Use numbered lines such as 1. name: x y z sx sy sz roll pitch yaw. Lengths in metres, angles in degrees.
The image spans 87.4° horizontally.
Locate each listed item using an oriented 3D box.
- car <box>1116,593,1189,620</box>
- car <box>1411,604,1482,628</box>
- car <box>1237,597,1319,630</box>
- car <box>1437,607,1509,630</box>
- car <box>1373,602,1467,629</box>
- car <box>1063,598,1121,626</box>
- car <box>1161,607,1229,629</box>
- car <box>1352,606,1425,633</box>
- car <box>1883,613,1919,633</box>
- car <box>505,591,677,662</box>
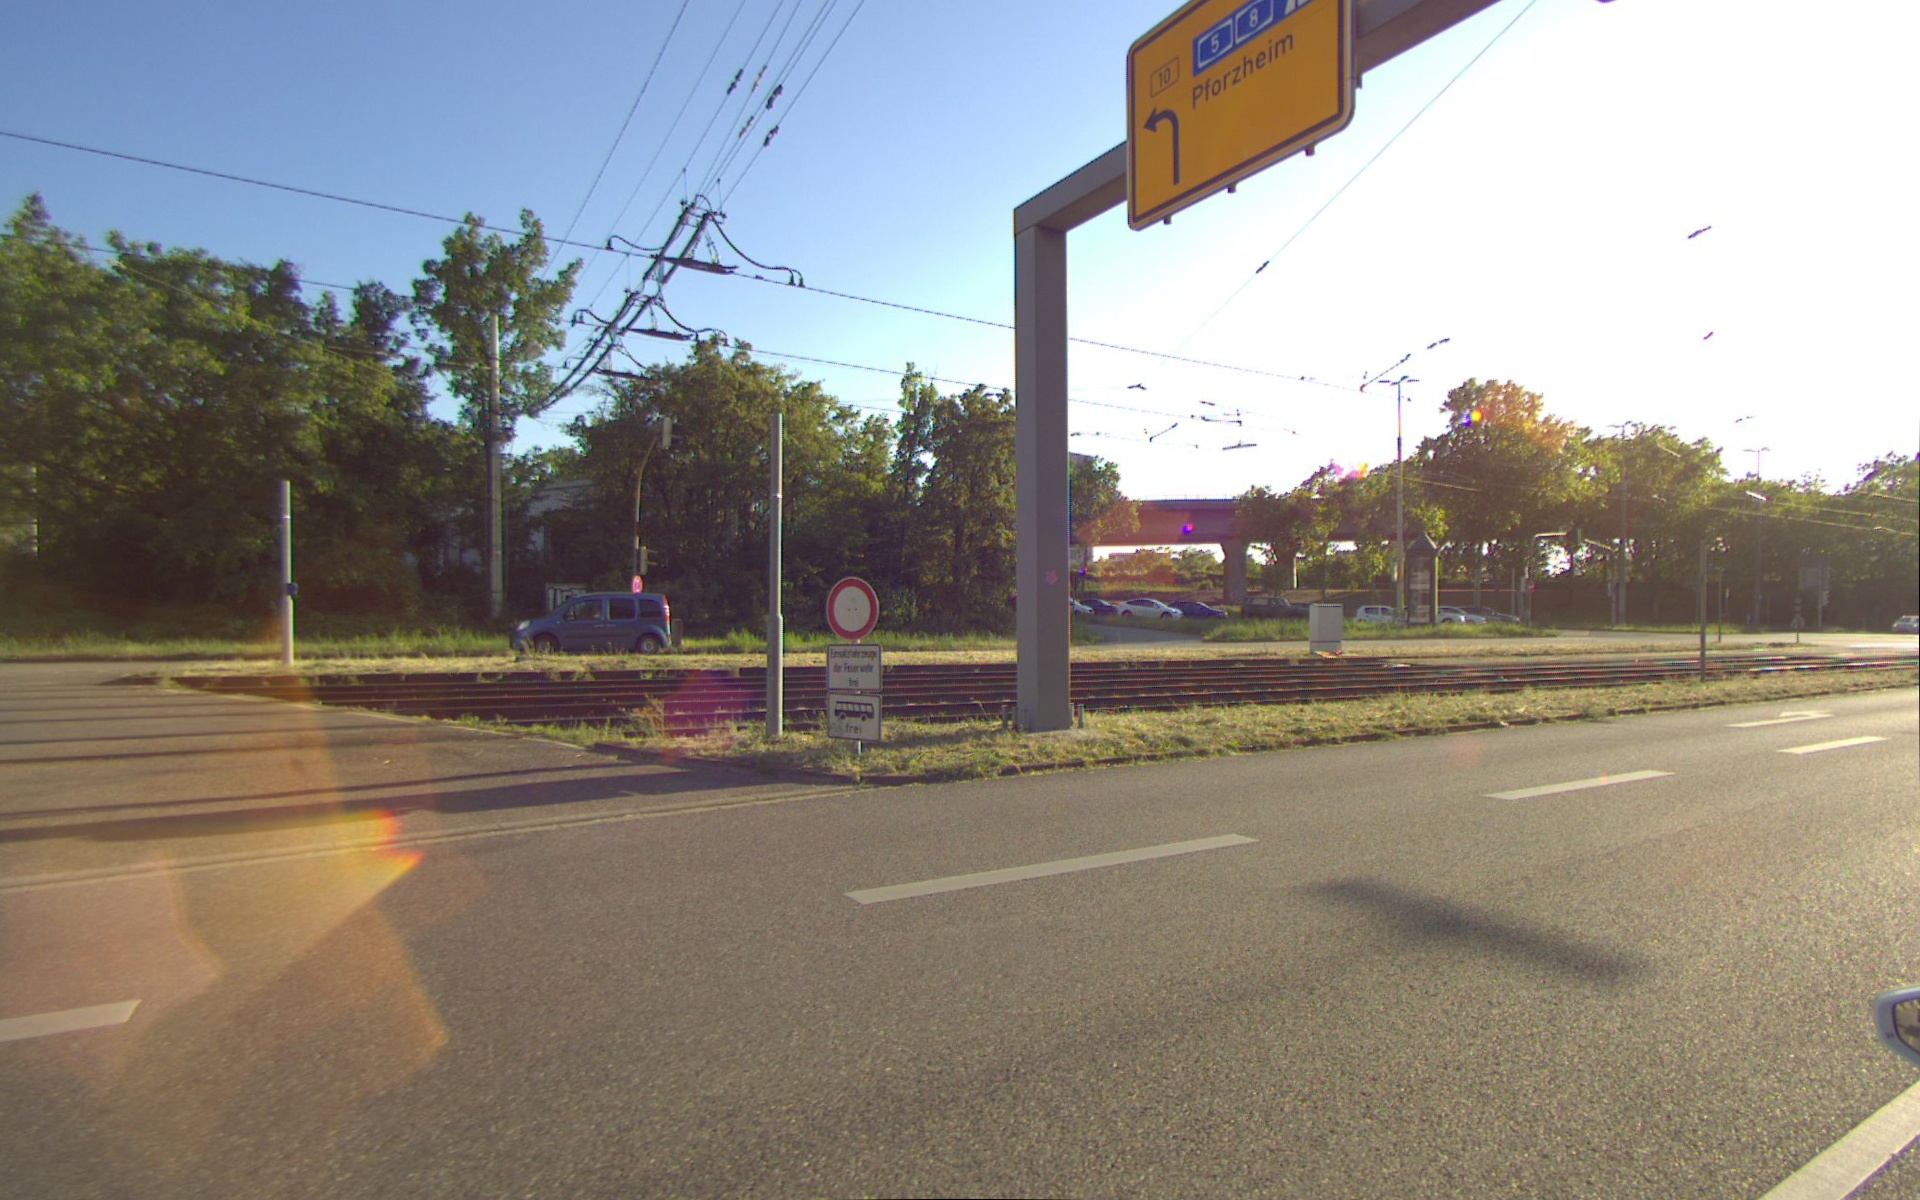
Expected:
1. car: 13.433 0.429 70.282 4.681 1.596 1.690 3 3 30
2. car: 32.503 1.039 67.123 4.123 1.423 1.667 1 1 32
3. car: 20.840 0.834 65.848 4.854 2.018 2.034 1 1 29
4. car: 35.380 1.272 69.307 4.364 1.423 1.668 1 1 29
5. car: 29.551 0.998 64.667 5.279 1.596 1.734 1 1 36
6. car: 10.018 0.884 76.336 3.929 2.040 1.996 1 0 30
7. car: 17.010 1.285 72.727 4.541 1.478 1.691 1 1 28
8. car: 26.716 1.192 62.655 3.932 1.596 1.689 1 1 33
9. car: 76.442 1.825 81.326 3.965 1.532 1.597 0 1 -34
10. car: -10.082 0.679 27.515 4.207 1.811 1.925 0 0 -29
